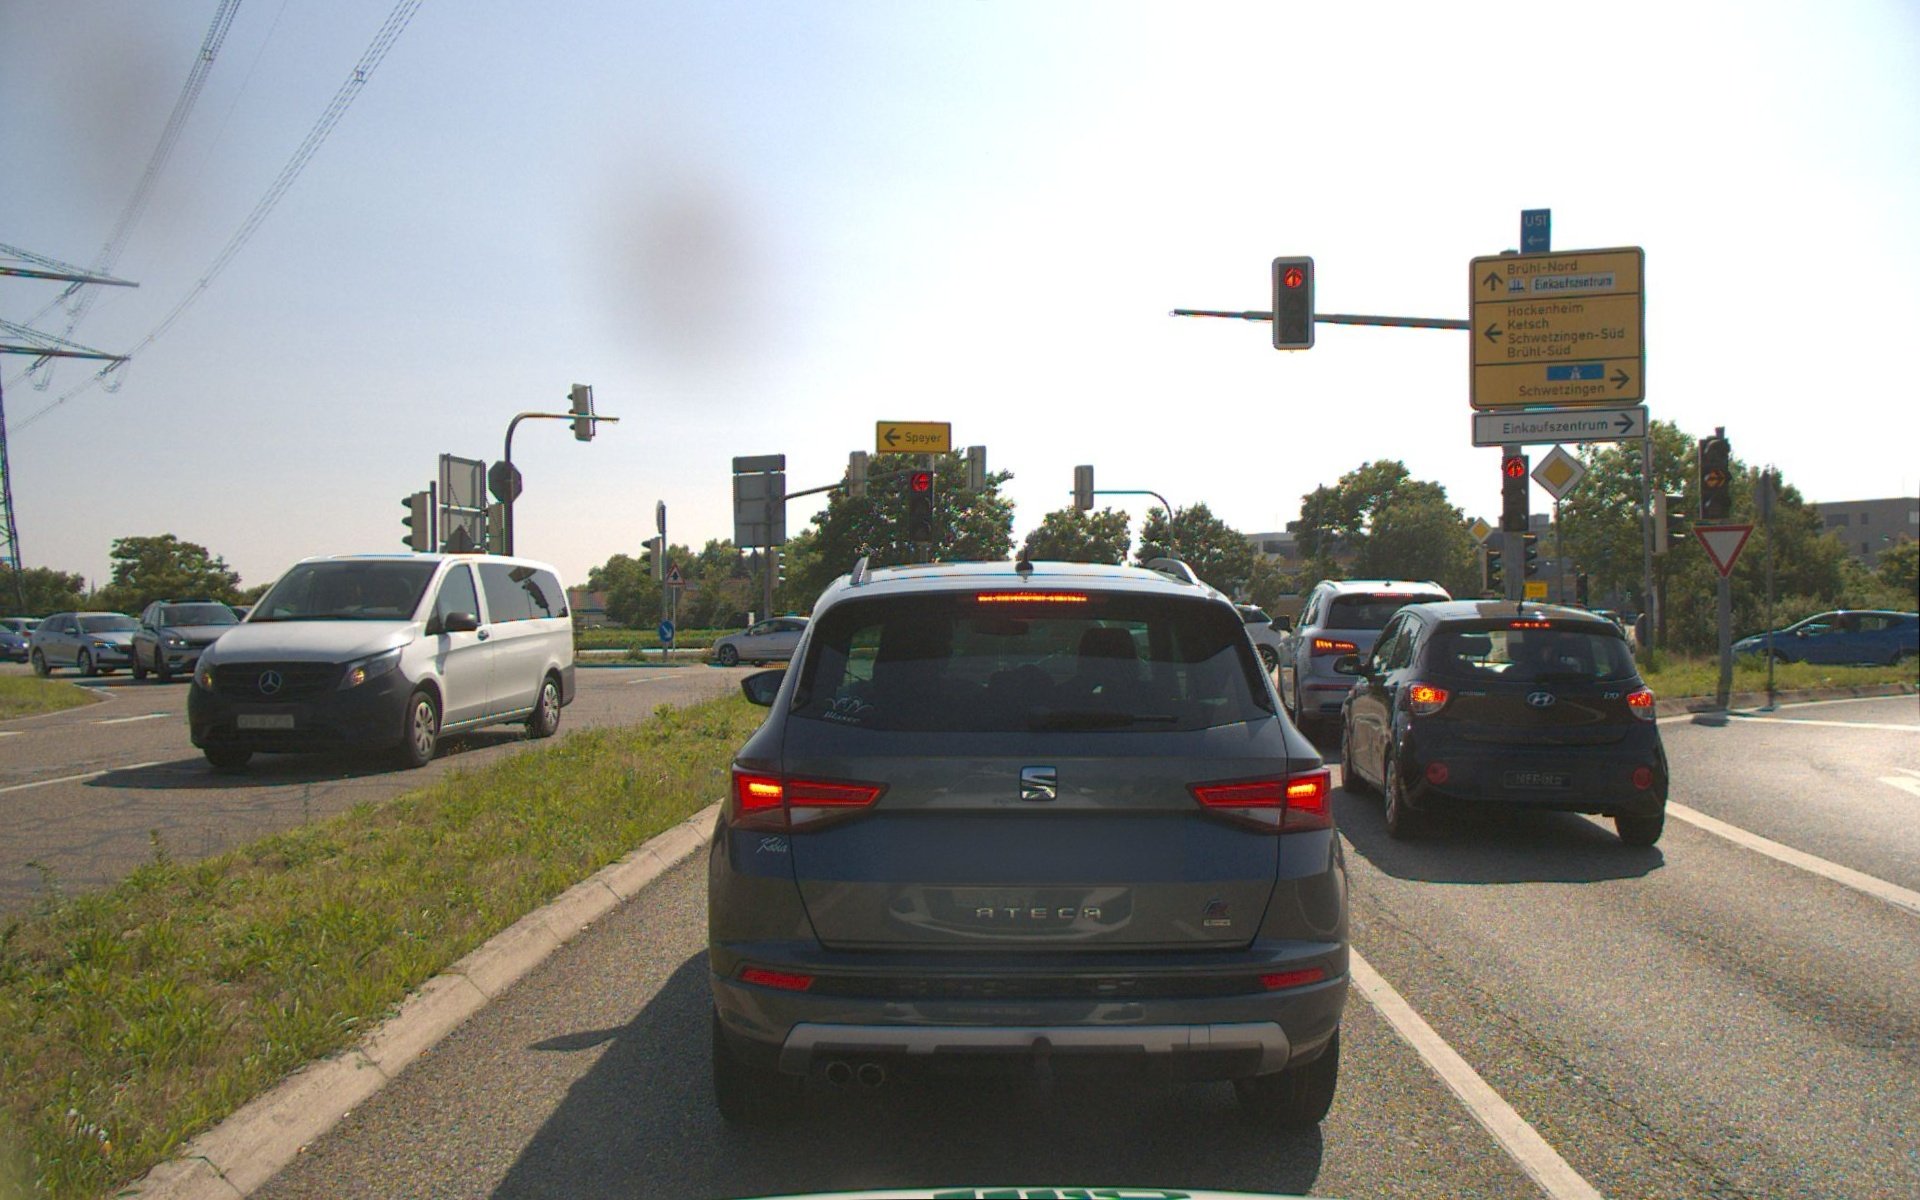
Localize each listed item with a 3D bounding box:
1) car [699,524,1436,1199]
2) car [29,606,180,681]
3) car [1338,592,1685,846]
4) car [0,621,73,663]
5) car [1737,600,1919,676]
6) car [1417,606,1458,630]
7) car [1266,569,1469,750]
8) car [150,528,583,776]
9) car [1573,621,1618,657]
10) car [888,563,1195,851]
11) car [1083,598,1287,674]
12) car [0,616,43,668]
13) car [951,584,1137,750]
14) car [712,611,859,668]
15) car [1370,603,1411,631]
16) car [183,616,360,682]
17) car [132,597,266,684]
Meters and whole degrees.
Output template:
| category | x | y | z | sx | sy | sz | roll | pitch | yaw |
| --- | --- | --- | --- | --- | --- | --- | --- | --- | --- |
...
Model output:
| category | x | y | z | sx | sy | sz | roll | pitch | yaw |
| --- | --- | --- | --- | --- | --- | --- | --- | --- | --- |
| car | 0.233 | 0.648 | 5.696 | 1.706 | 1.596 | 3.623 | 1 | 0 | -1 |
| car | -20.380 | 1.009 | 39.359 | 3.924 | 1.680 | 1.811 | -1 | -1 | 39 |
| car | 3.635 | 0.696 | 11.445 | 1.598 | 1.473 | 3.297 | 1 | 0 | 6 |
| car | -36.131 | 1.590 | 63.183 | 4.235 | 1.545 | 1.806 | -1 | 0 | 25 |
| car | 18.651 | 0.785 | 35.217 | 3.791 | 1.545 | 1.806 | -1 | 0 | 25 |
| car | 33.748 | 1.275 | 116.805 | 1.683 | 1.576 | 3.597 | 1 | 0 | 36 |
| car | 4.246 | 0.575 | 17.700 | 1.598 | 1.706 | 3.752 | 1 | 0 | 6 |
| car | -5.323 | 0.390 | 15.705 | 1.951 | 1.951 | 4.951 | 1 | 0 | 5 |
| car | 31.637 | 1.900 | 82.249 | 1.839 | 1.702 | 3.767 | 1 | 0 | 24 |
| car | 0.469 | 0.614 | 11.164 | 1.706 | 1.596 | 3.624 | 1 | 0 | 0 |
| car | 4.587 | 0.720 | 33.983 | 3.828 | 1.490 | 1.719 | 0 | 0 | -10 |
| car | -32.698 | 1.403 | 55.170 | 3.910 | 1.680 | 1.818 | -1 | 0 | 27 |
| car | 0.925 | 0.639 | 17.292 | 1.705 | 1.510 | 3.626 | 1 | 0 | 4 |
| car | -4.967 | 1.107 | 47.127 | 3.791 | 1.545 | 1.806 | -1 | 0 | 25 |
| car | 25.932 | 1.022 | 99.619 | 1.678 | 1.576 | 3.607 | 1 | 0 | 26 |
| car | -18.357 | 1.264 | 44.067 | 4.654 | 1.680 | 1.818 | 0 | -1 | 27 |
| car | -15.775 | 0.800 | 34.203 | 1.800 | 1.680 | 3.949 | 0 | 0 | -36 |
